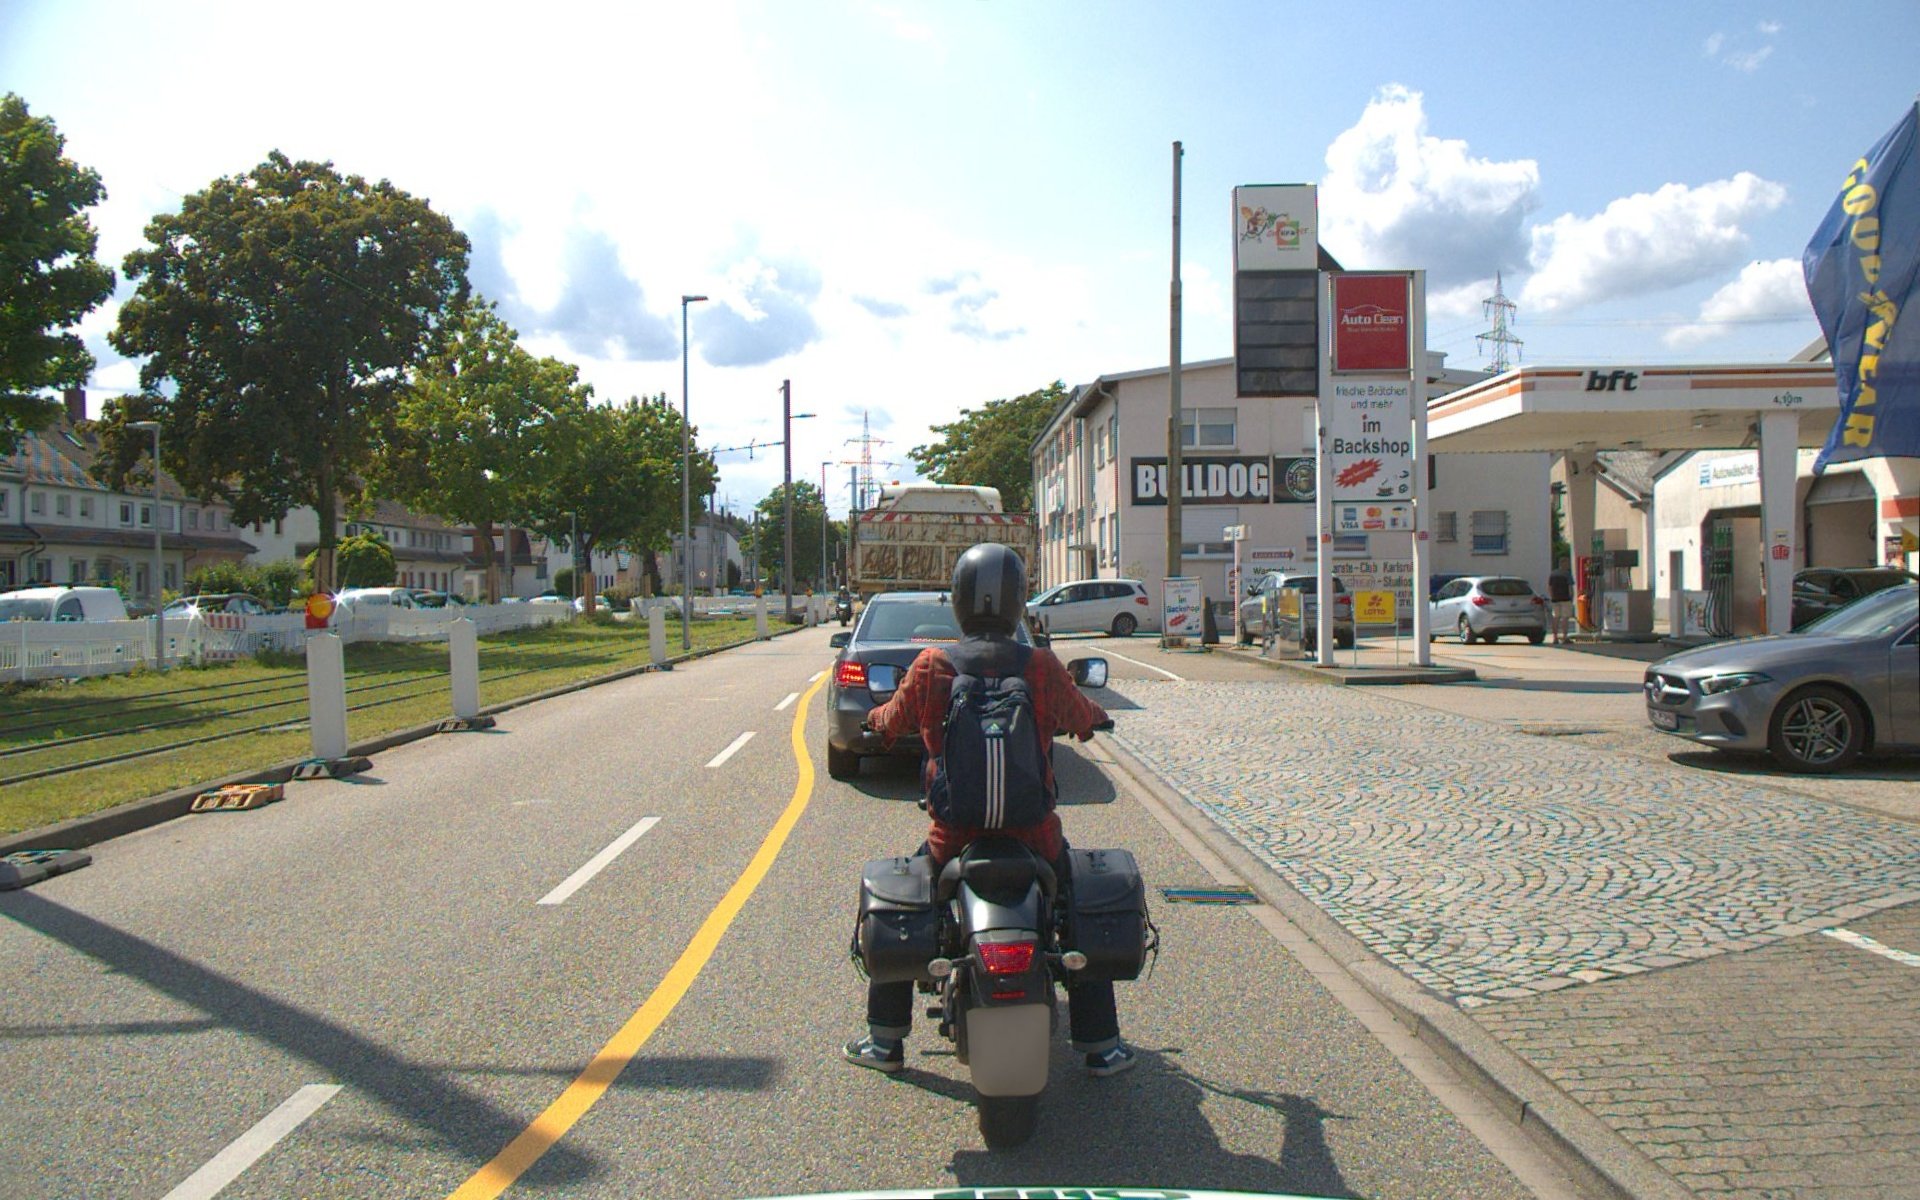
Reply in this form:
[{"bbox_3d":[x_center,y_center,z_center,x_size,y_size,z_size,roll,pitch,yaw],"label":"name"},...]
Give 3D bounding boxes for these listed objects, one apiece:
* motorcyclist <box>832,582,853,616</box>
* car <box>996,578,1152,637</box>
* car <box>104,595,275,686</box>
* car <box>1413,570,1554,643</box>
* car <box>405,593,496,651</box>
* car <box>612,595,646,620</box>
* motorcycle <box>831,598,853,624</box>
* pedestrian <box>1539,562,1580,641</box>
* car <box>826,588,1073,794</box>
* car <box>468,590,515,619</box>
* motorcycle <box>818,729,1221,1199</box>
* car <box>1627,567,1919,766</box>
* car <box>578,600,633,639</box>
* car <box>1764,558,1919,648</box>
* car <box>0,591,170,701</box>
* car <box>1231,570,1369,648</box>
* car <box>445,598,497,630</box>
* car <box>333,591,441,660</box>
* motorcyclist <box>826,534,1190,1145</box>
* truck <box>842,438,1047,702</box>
[{"bbox_3d":[-4.942,-0.062,69.397,0.851,1.402,0.800,-1,0,-4],"label":"motorcyclist"},{"bbox_3d":[3.216,0.192,47.070,4.152,1.570,1.669,-1,0,-9],"label":"car"},{"bbox_3d":[-16.672,0.826,36.026,1.740,1.805,4.227,-1,0,-1],"label":"car"},{"bbox_3d":[11.723,0.122,37.268,1.770,1.529,3.831,-1,0,-3],"label":"car"},{"bbox_3d":[-16.971,0.699,55.261,1.740,1.837,4.127,-1,0,-1],"label":"car"},{"bbox_3d":[-24.967,0.550,124.852,1.740,1.753,4.127,-1,0,-1],"label":"car"},{"bbox_3d":[-4.940,0.442,69.472,0.851,1.039,2.243,-1,0,-3],"label":"motorcycle"},{"bbox_3d":[12.955,0.033,35.714,0.696,1.685,0.546,-1,0,35],"label":"pedestrian"},{"bbox_3d":[-0.103,0.657,14.136,1.786,1.478,3.999,1,0,-1],"label":"car"},{"bbox_3d":[-29.427,0.276,103.952,1.740,1.753,4.127,-1,0,-1],"label":"car"},{"bbox_3d":[0.126,0.996,5.325,0.959,0.913,2.653,-1,0,-1],"label":"motorcycle"},{"bbox_3d":[7.588,0.460,12.804,4.181,1.440,1.675,-1,0,7],"label":"car"},{"bbox_3d":[-17.056,0.910,79.686,1.740,1.753,4.127,-1,0,-1],"label":"car"},{"bbox_3d":[16.620,0.027,30.323,1.770,1.529,3.832,-1,0,-3],"label":"car"},{"bbox_3d":[-16.436,0.783,30.390,1.740,1.853,4.363,-1,0,-1],"label":"car"},{"bbox_3d":[7.459,0.177,36.633,1.636,1.589,4.236,-1,0,-8],"label":"car"},{"bbox_3d":[-28.300,0.779,95.835,1.740,1.753,4.127,-1,0,-1],"label":"car"},{"bbox_3d":[-16.939,0.715,49.083,1.740,1.900,4.127,-1,0,-1],"label":"car"},{"bbox_3d":[0.124,0.642,5.019,0.959,1.630,1.087,-1,0,-1],"label":"motorcyclist"},{"bbox_3d":[-0.261,-0.423,25.367,2.585,3.354,8.055,-1,0,-1],"label":"truck"}]
